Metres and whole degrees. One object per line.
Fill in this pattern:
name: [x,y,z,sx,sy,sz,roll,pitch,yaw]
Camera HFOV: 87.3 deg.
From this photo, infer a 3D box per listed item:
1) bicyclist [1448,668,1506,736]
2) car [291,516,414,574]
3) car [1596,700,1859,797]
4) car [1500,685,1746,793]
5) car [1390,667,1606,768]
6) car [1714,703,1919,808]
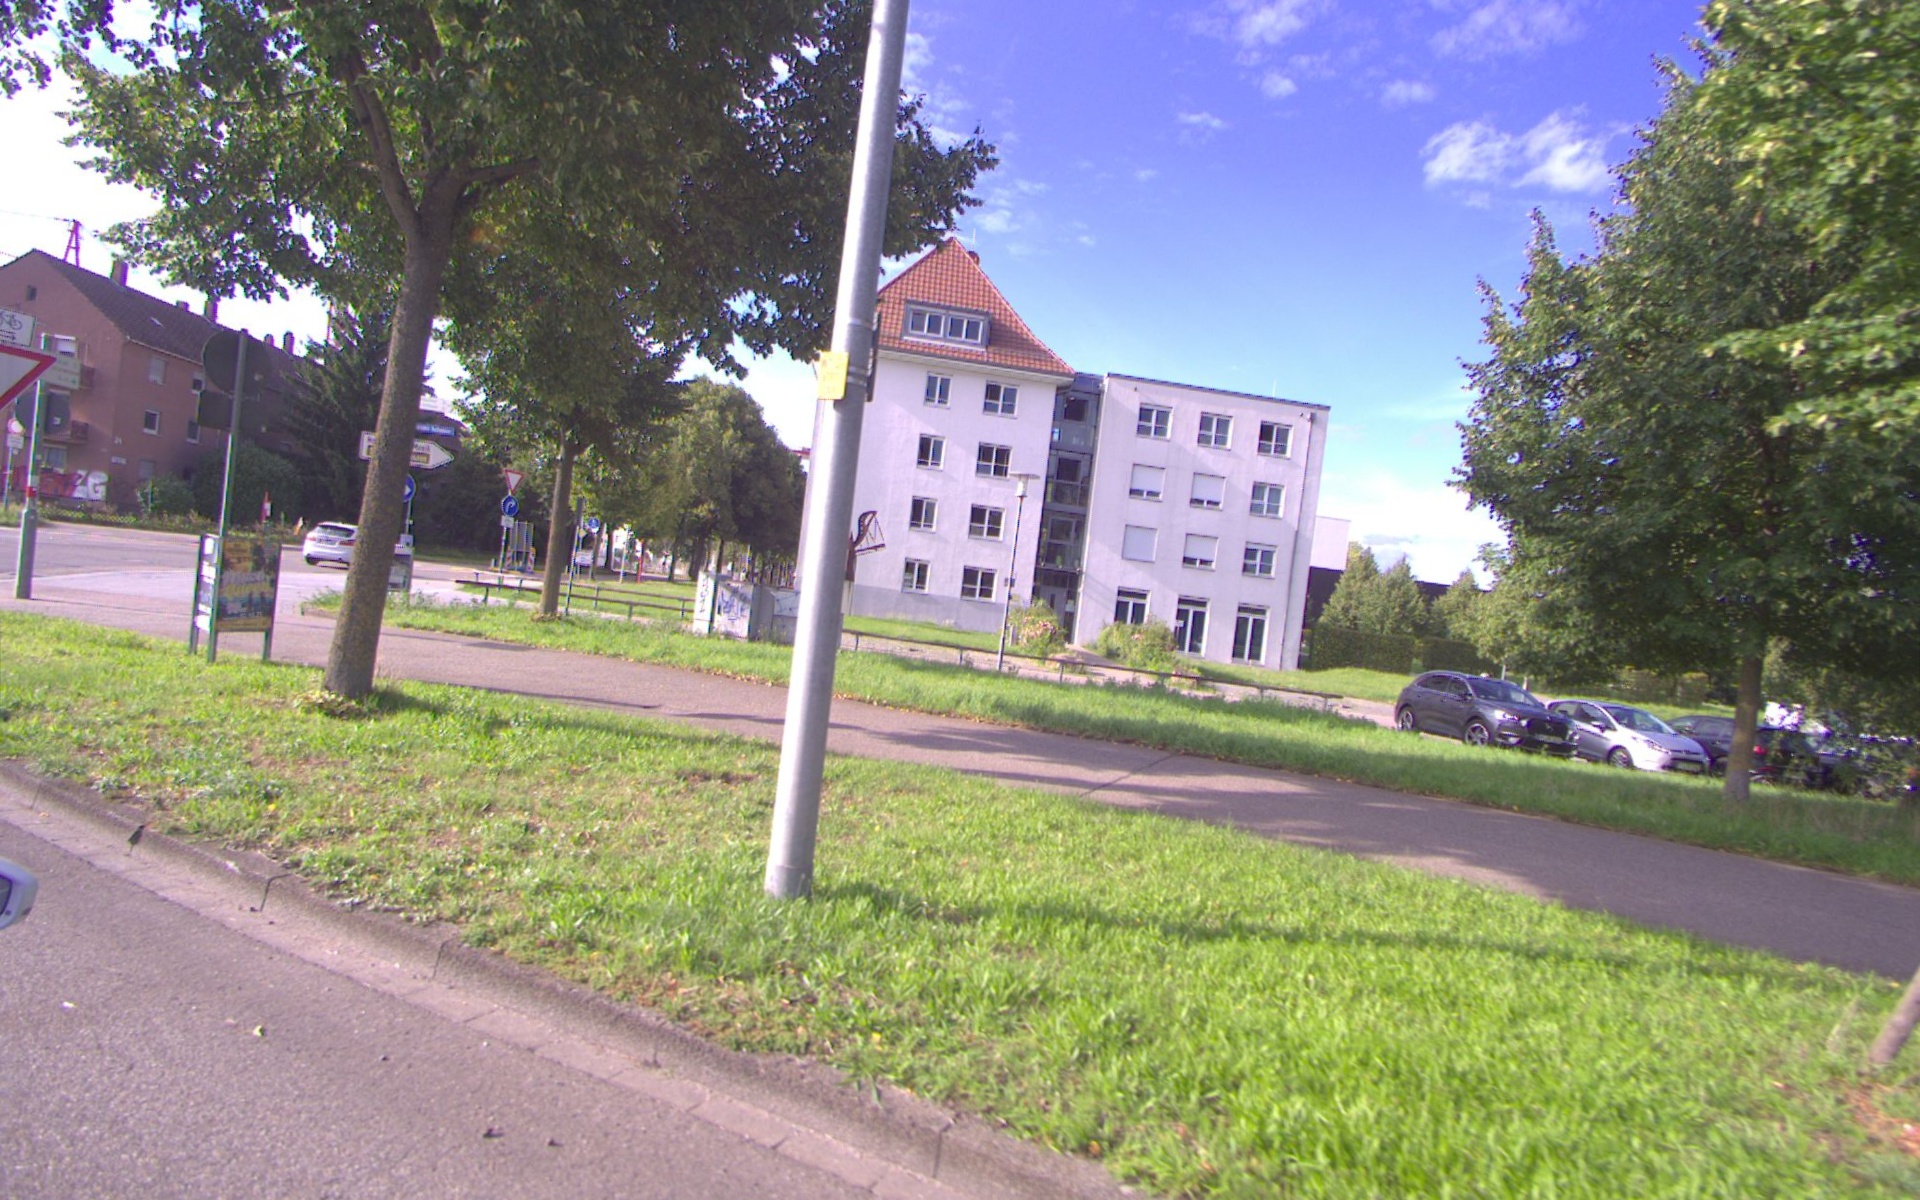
bicyclist: [13.414,2.624,26.138,0.942,1.594,0.772,7,1,4]
car: [-21.925,-1.942,36.537,1.824,1.591,4.452,8,-1,-4]
car: [16.484,3.140,22.010,1.828,1.222,4.730,7,0,-3]
car: [14.037,2.883,21.725,1.827,1.457,4.730,7,0,-3]
car: [11.156,2.382,21.305,1.827,1.398,4.512,7,0,-3]
car: [19.303,3.359,21.921,1.827,1.534,4.730,7,0,-3]
